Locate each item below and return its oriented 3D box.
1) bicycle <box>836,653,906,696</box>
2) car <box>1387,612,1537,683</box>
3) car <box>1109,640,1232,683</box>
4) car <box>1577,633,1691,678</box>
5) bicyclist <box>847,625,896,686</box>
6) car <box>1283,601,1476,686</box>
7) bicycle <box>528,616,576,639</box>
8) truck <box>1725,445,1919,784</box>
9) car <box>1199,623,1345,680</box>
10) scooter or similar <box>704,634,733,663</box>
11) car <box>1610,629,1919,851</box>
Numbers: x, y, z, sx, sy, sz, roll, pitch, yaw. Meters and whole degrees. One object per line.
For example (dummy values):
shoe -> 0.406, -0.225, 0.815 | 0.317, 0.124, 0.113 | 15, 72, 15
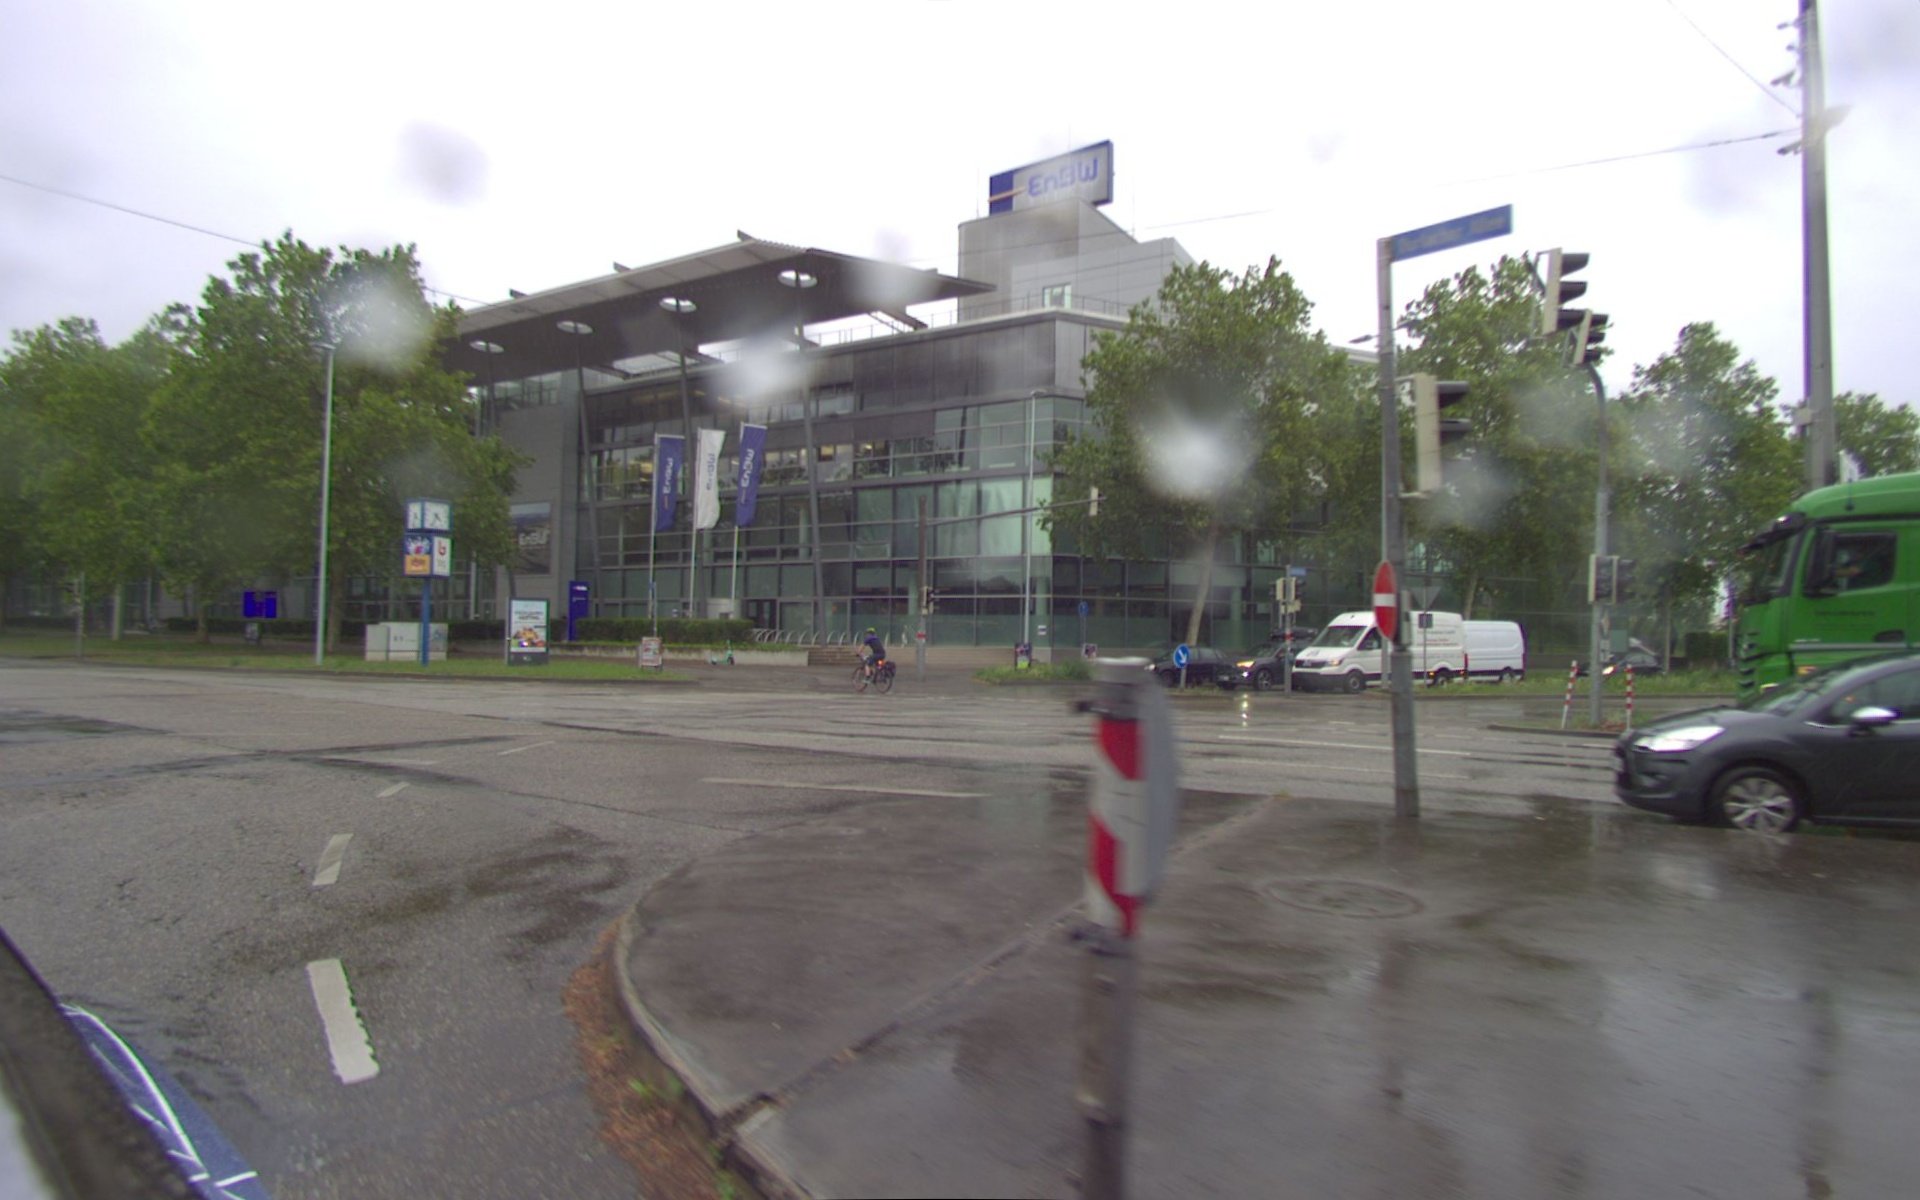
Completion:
bicycle -> -2.394, 1.977, 27.125 | 1.909, 1.103, 0.686 | -2, -4, 36
car -> 18.272, 1.735, 36.832 | 5.170, 2.452, 1.977 | 2, -2, -23
car -> 7.408, 2.144, 35.540 | 3.930, 1.448, 1.809 | 2, -3, -26
car -> 26.831, 2.211, 40.320 | 3.930, 1.697, 1.875 | 1, -2, -22
bicyclist -> -2.380, 1.492, 27.131 | 1.045, 1.606, 0.795 | -3, -4, 36
car -> 13.027, 1.355, 31.376 | 5.857, 2.452, 1.977 | 2, -2, -23
bicycle -> -24.910, 1.677, 61.842 | 1.177, 1.342, 3.690 | 1, -2, 4
truck -> 14.957, 0.189, 11.124 | 10.161, 3.979, 2.658 | 0, -2, 32
car -> 10.195, 1.678, 33.055 | 4.252, 1.761, 2.007 | 2, -2, -24
scooter or similar -> -9.737, 1.949, 40.839 | 1.169, 1.147, 0.338 | 0, -2, 27
car -> 7.494, 1.042, 7.833 | 3.980, 1.558, 1.644 | 0, -2, 28
